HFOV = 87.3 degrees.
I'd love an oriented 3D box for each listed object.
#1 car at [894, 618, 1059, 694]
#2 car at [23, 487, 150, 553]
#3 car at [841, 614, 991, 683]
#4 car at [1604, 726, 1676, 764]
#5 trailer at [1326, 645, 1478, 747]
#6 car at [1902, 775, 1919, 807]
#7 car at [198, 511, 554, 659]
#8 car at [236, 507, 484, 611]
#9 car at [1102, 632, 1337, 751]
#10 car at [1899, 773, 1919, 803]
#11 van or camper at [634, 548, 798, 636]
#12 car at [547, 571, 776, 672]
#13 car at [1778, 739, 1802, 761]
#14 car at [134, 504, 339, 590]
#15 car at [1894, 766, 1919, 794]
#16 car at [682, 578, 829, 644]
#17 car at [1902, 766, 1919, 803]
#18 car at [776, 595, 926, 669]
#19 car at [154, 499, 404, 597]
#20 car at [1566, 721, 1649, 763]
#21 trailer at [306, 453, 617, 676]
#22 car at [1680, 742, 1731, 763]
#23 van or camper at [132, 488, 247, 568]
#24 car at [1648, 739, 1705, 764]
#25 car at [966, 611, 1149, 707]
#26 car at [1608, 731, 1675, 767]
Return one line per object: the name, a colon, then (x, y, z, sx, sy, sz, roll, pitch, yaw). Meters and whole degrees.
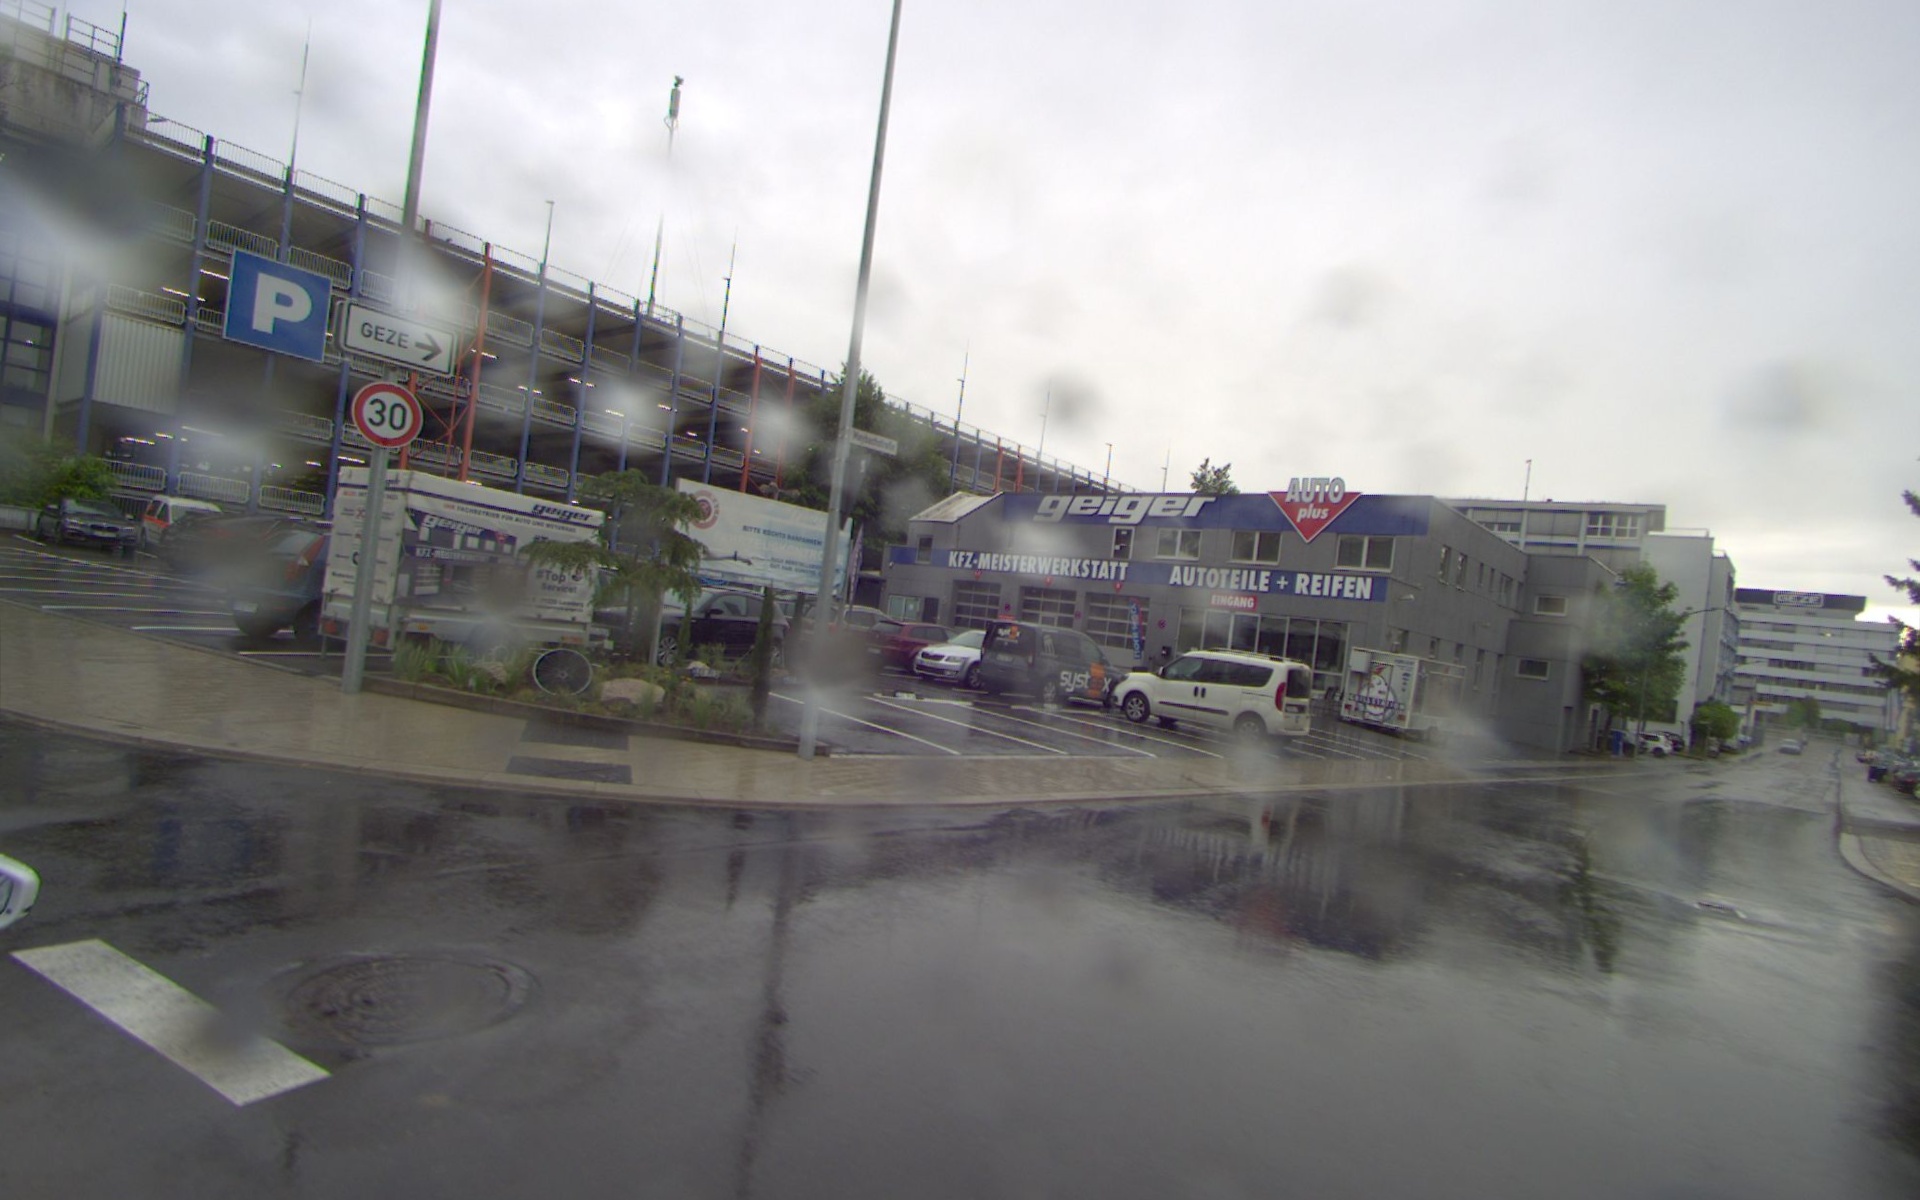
car: (0.494, 1.474, 25.844, 1.840, 1.515, 4.119, 7, 0, 43)
car: (-25.898, -2.393, 29.805, 4.143, 1.459, 1.933, 7, -1, 37)
car: (-1.153, 1.374, 27.988, 1.837, 1.515, 4.126, 7, 0, 37)
car: (47.334, 10.078, 70.038, 3.939, 2.033, 1.998, 4, -6, 36)
trailer: (15.839, 3.457, 35.845, 2.899, 2.762, 5.867, 3, -7, 45)
car: (48.980, 9.666, 49.520, 3.717, 1.461, 1.607, 3, -7, 44)
car: (-7.588, -0.107, 13.454, 1.622, 1.547, 3.733, 6, -1, 28)
car: (-13.314, -0.842, 22.626, 1.755, 1.678, 4.364, 7, -1, 29)
car: (5.585, 1.930, 21.937, 4.423, 1.851, 1.886, 7, 0, 38)
car: (53.673, 10.448, 54.733, 3.717, 1.461, 1.607, 3, -7, 44)
van or camper: (-8.121, -0.200, 33.929, 2.188, 2.354, 4.955, 7, 0, 36)
car: (-5.048, 0.440, 17.531, 1.662, 1.331, 3.737, 7, -1, 25)
car: (97.353, 17.633, 117.968, 1.973, 2.033, 3.989, 4, -7, 42)
car: (-17.862, -1.271, 25.025, 1.614, 1.517, 3.696, 7, -2, 29)
car: (58.246, 10.916, 59.910, 3.717, 1.461, 1.607, 3, -7, 44)
car: (-6.466, 0.398, 32.208, 1.837, 1.602, 4.354, 7, 0, 37)
car: (50.645, 9.650, 51.264, 3.717, 1.770, 1.606, 3, -7, 44)
car: (-3.069, 0.963, 29.088, 1.837, 1.687, 4.126, 7, 0, 37)
car: (-15.536, -1.119, 23.233, 1.808, 1.577, 4.366, 7, -1, 27)
car: (38.572, 8.453, 59.966, 3.939, 1.809, 1.998, 4, -6, 36)
trailer: (-5.807, -0.337, 11.958, 1.522, 2.197, 2.707, 7, -1, 30)
car: (74.348, 15.198, 100.343, 3.940, 1.500, 1.998, 4, -6, 37)
van or camper: (-24.517, -2.311, 31.962, 4.397, 2.060, 1.837, 7, -1, 40)
car: (62.402, 13.196, 87.645, 3.940, 1.500, 1.998, 4, -6, 37)
car: (2.448, 1.468, 24.295, 1.868, 1.851, 4.465, 7, 0, 44)
car: (50.940, 11.112, 75.209, 3.939, 2.033, 1.998, 4, -6, 36)
